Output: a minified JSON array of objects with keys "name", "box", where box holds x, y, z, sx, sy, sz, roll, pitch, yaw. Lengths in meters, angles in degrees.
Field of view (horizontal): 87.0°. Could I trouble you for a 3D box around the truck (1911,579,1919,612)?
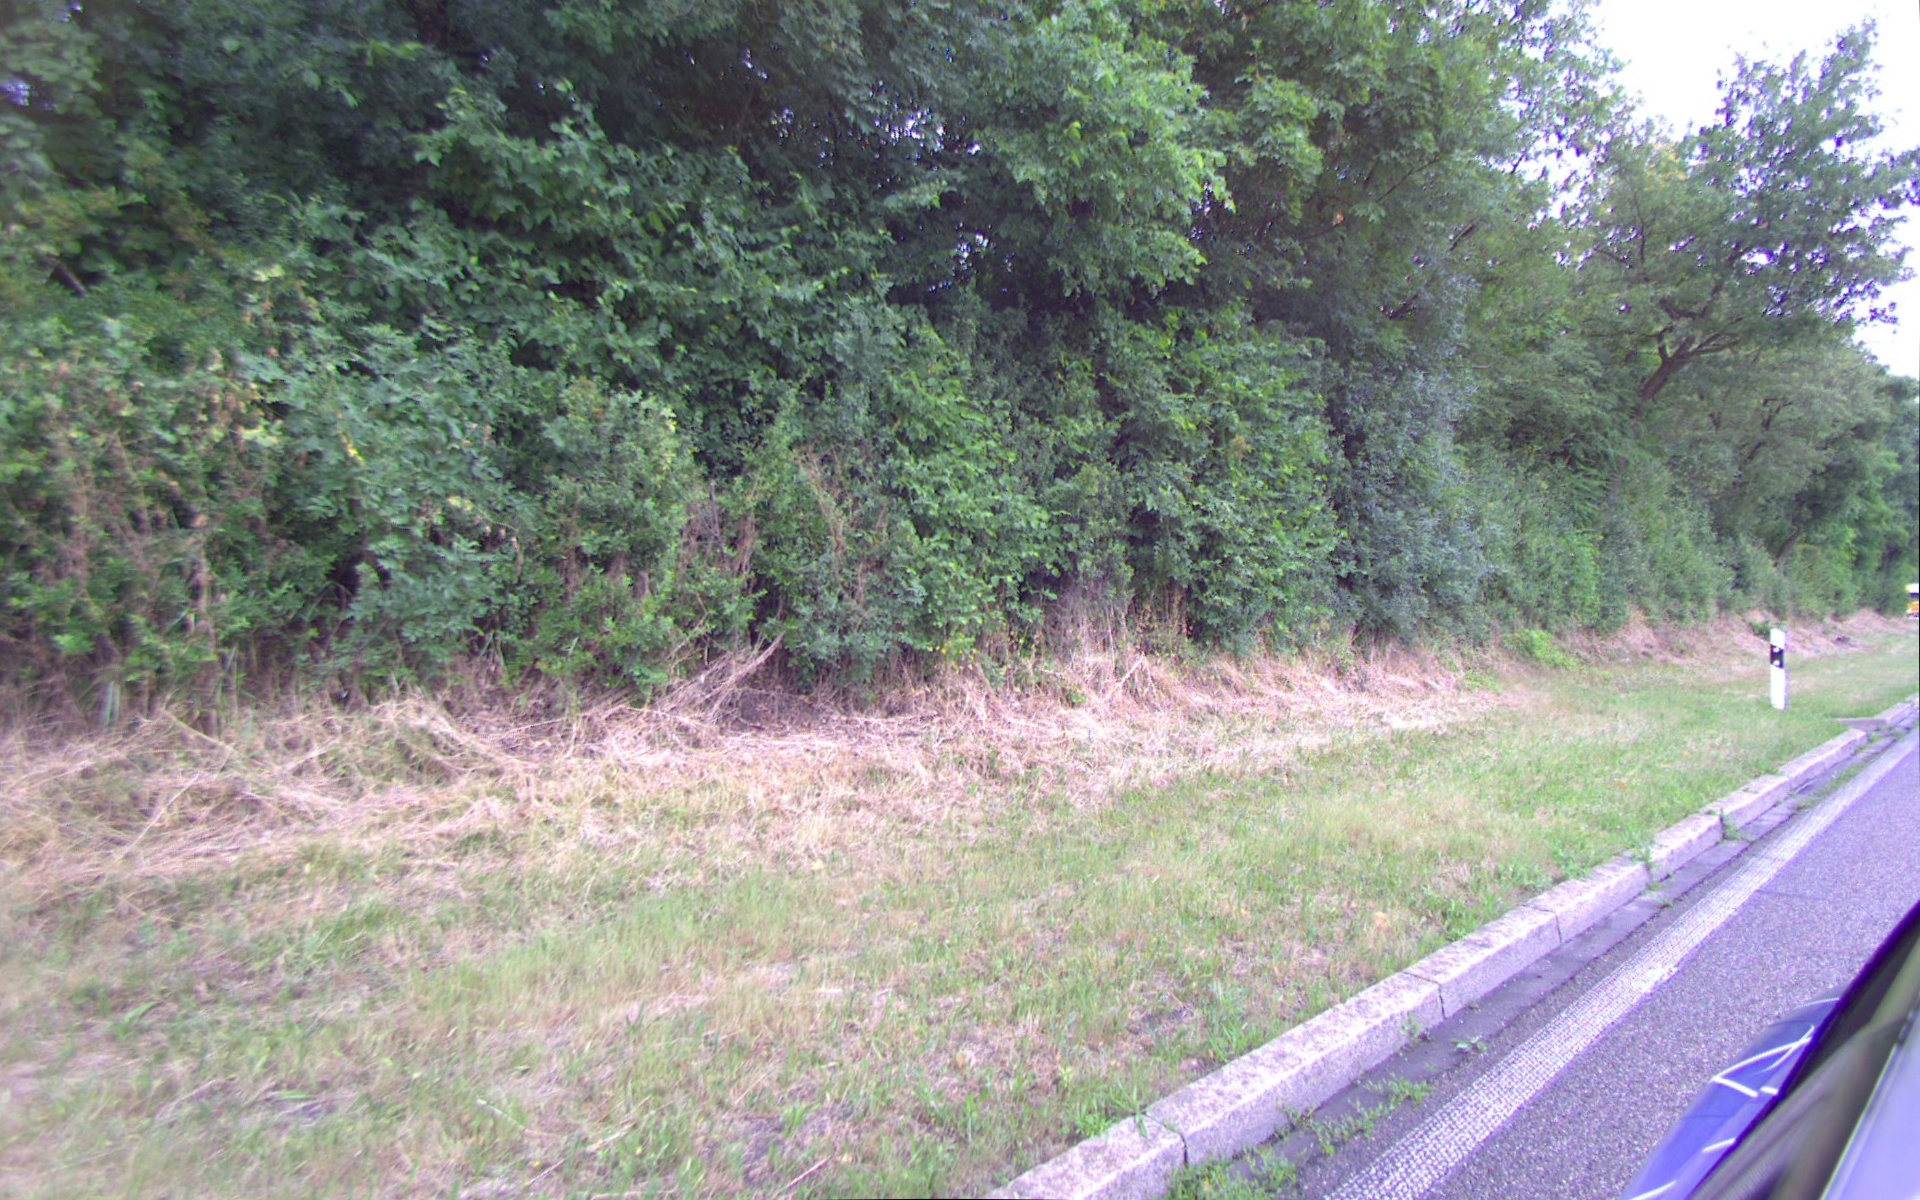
[{"name":"truck","box":[119.851,-0.483,125.253,2.534,4.023,6.384,1,1,38]}]
